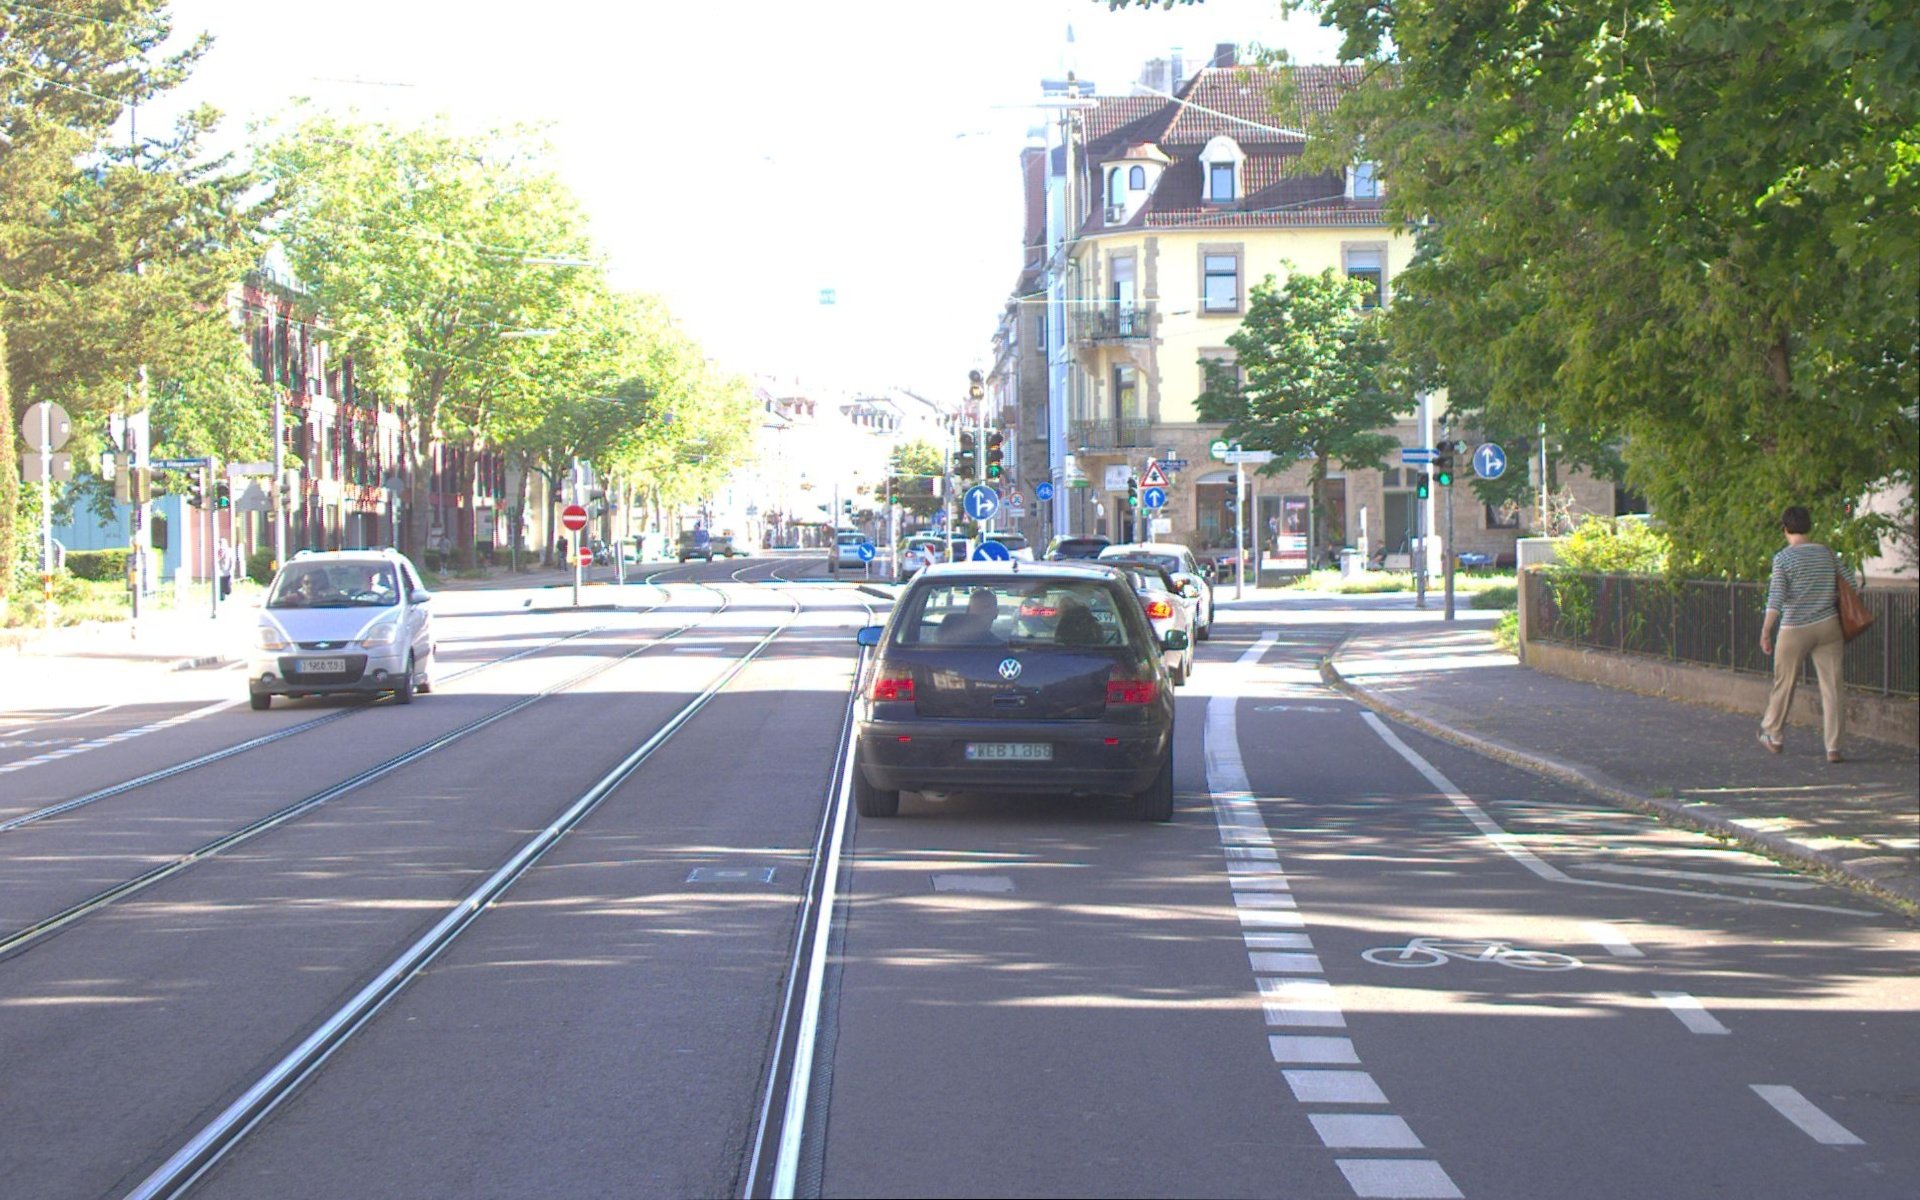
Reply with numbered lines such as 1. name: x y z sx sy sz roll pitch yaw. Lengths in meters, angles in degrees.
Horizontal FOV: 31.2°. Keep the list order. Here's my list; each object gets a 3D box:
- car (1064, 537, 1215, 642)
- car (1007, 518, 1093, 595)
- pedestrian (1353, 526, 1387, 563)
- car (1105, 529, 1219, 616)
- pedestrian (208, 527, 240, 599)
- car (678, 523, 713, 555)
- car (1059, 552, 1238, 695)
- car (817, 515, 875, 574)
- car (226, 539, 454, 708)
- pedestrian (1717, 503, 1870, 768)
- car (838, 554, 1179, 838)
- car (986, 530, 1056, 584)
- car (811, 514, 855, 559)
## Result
1. car: 2.656 -0.179 50.085 1.740 1.436 3.808 -1 1 10
2. car: 1.961 -0.933 75.900 1.569 1.307 3.499 -1 -5 -3
3. pedestrian: 13.065 -1.775 109.539 0.979 1.183 0.743 -1 1 -2
4. car: 3.558 -0.513 61.022 1.569 1.306 3.648 -1 4 -3
5. pedestrian: -17.655 -0.897 82.422 0.609 1.684 0.734 2 1 -19
6. car: -15.660 -3.598 203.131 1.971 1.809 4.298 -1 1 -5
7. car: 1.944 0.212 36.361 1.634 1.367 3.757 -1 1 0
8. car: -3.719 -1.814 111.512 1.787 1.853 4.001 2 1 -3
9. car: -5.873 0.186 32.887 1.575 1.472 3.441 -2 1 -1
10. pedestrian: 5.469 0.219 22.604 0.717 1.682 0.870 -2 1 -2
11. car: 0.347 0.460 19.497 1.716 1.398 4.006 1 1 3
12. car: 1.672 -1.199 95.107 1.681 1.448 3.379 -1 1 -3
13. car: -5.429 -2.708 146.276 1.787 1.853 4.001 -1 1 -3
